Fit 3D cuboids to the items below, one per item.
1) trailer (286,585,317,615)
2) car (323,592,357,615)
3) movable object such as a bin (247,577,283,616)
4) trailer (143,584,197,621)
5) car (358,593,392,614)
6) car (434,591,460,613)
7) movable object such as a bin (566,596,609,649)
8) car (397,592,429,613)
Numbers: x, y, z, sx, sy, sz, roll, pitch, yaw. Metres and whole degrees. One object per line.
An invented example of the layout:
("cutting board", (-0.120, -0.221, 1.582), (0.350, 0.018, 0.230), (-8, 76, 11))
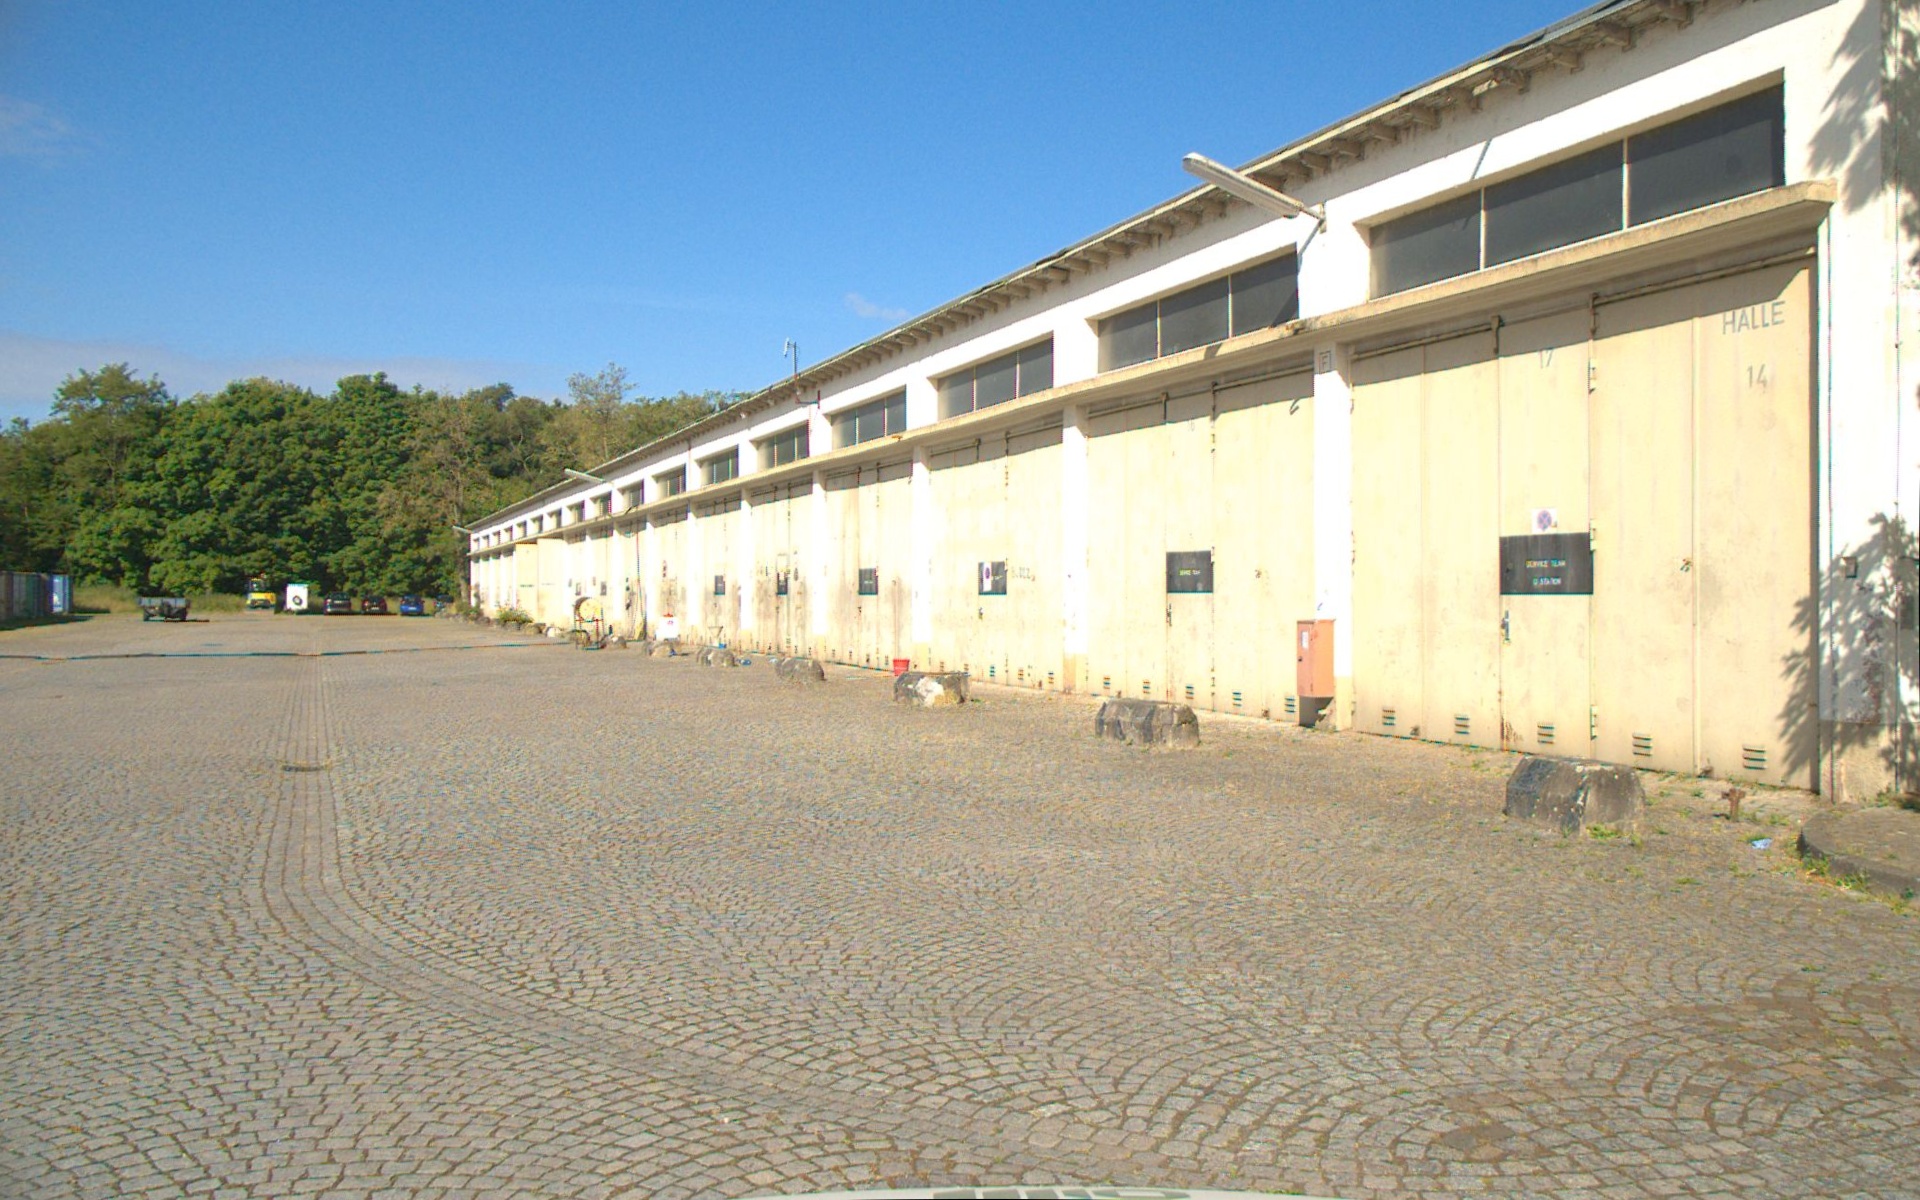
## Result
("trailer", (-47.367, 0.018, 119.024), (1.766, 2.126, 3.952), (0, 0, -17))
("car", (-44.375, 0.211, 118.433), (1.830, 1.613, 3.984), (0, 0, -15))
("movable object such as a bin", (-49.734, -0.246, 118.345), (1.962, 2.664, 3.980), (-1, 0, -17))
("trailer", (-47.052, 0.144, 98.596), (2.371, 2.049, 4.149), (2, -1, -19))
("car", (-42.226, 0.224, 119.522), (1.960, 1.488, 3.984), (0, 0, -15))
("car", (-38.064, 0.148, 122.691), (1.657, 1.591, 3.984), (0, 0, -15))
("movable object such as a bin", (-9.707, 0.575, 43.099), (0.813, 1.355, 1.269), (0, 0, -26))
("car", (-39.825, 0.170, 120.510), (1.960, 1.445, 3.984), (0, 0, -15))
